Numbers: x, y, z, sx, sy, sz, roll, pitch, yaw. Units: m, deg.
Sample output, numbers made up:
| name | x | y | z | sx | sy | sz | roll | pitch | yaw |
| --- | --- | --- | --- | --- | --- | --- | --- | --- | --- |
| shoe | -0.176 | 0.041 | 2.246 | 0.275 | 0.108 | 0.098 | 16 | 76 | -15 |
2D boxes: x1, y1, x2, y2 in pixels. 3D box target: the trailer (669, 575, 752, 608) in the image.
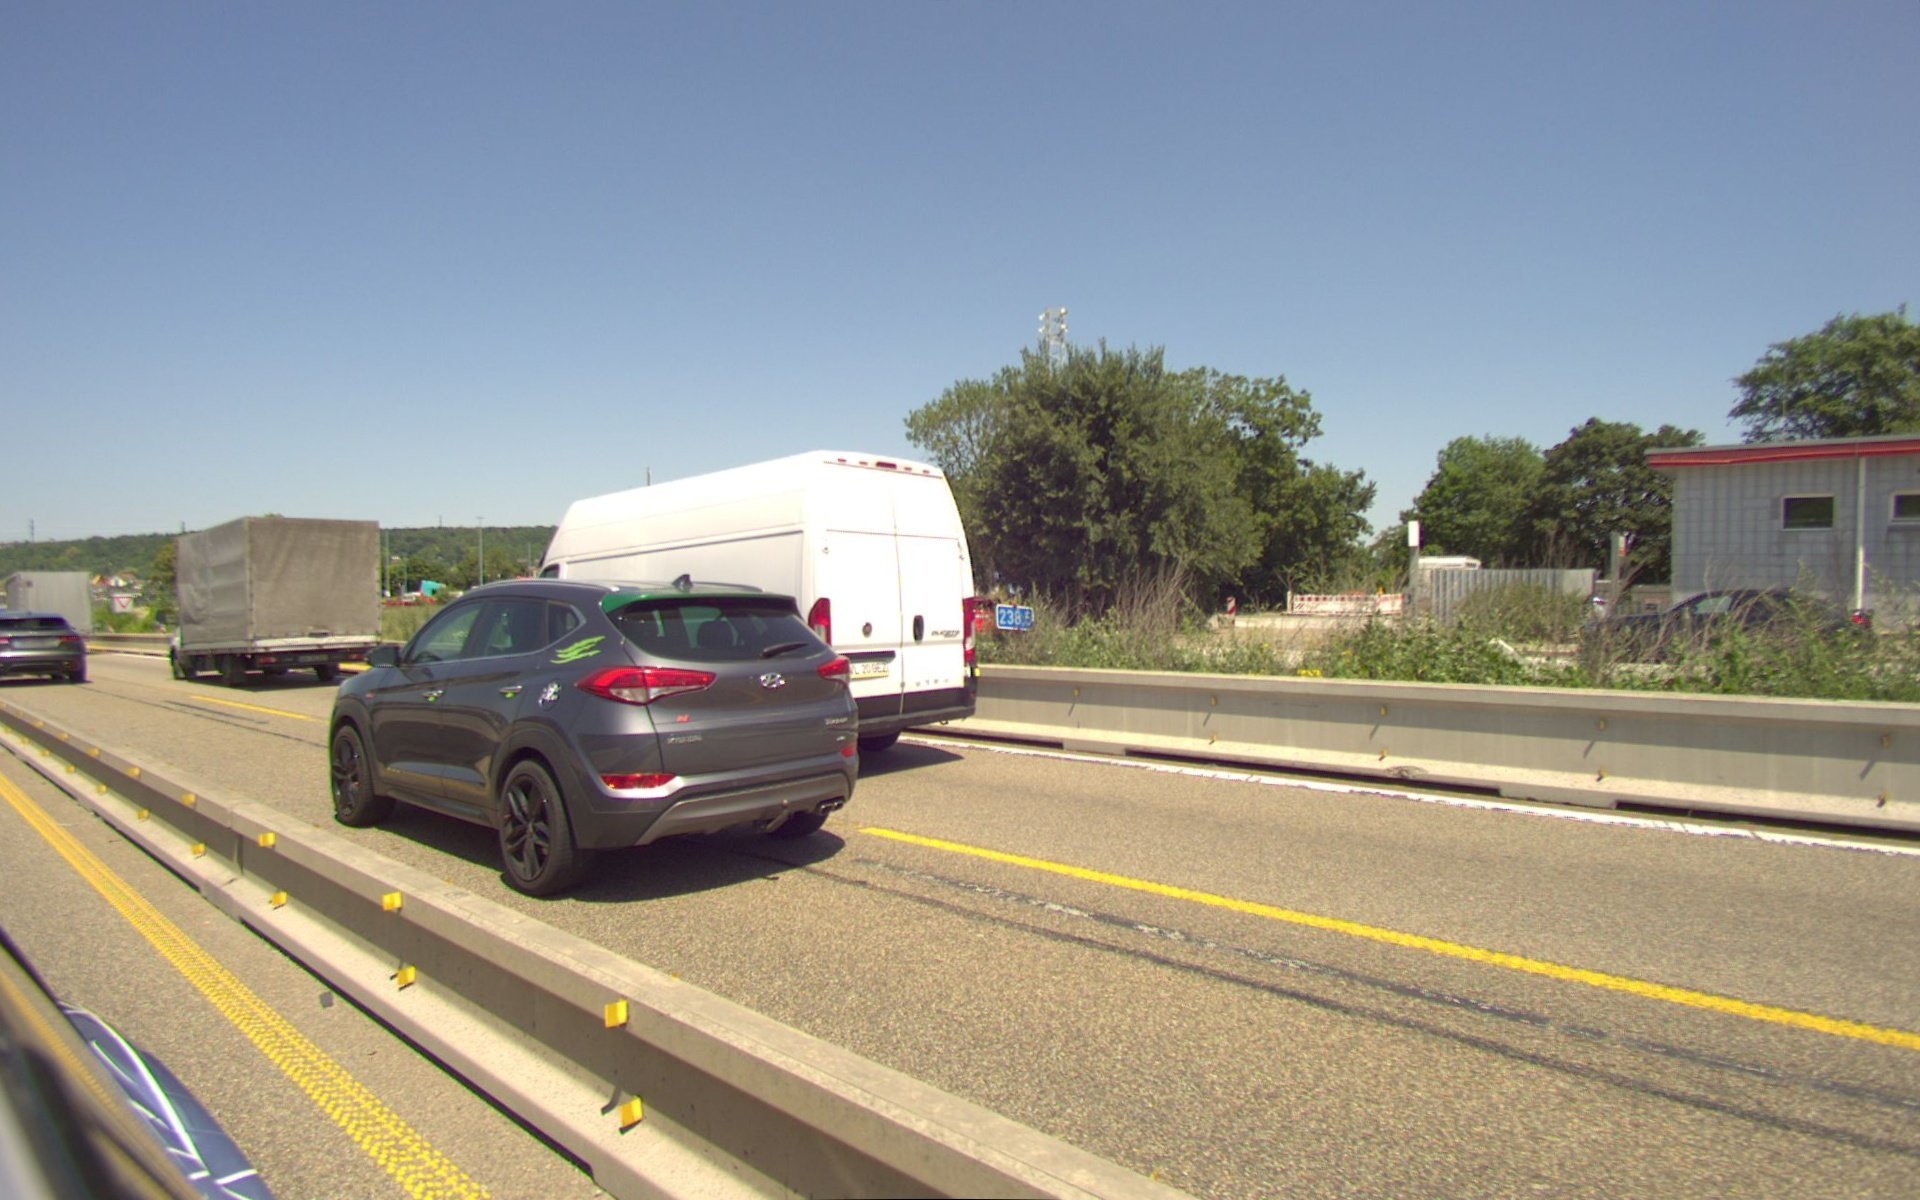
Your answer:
| name | x | y | z | sx | sy | sz | roll | pitch | yaw |
| --- | --- | --- | --- | --- | --- | --- | --- | --- | --- |
| trailer | -31.522 | -1.055 | 127.185 | 13.427 | 3.649 | 2.991 | -2 | 1 | 42 |

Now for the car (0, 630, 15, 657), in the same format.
| name | x | y | z | sx | sy | sz | roll | pitch | yaw |
| --- | --- | --- | --- | --- | --- | --- | --- | --- | --- |
| car | -53.545 | 2.427 | 55.863 | 3.783 | 1.459 | 1.606 | -2 | 0 | 40 |

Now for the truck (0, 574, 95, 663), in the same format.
| name | x | y | z | sx | sy | sz | roll | pitch | yaw |
| --- | --- | --- | --- | --- | --- | --- | --- | --- | --- |
| truck | -38.271 | 0.769 | 42.192 | 7.713 | 3.410 | 2.364 | -2 | 0 | 43 |

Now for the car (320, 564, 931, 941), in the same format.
| name | x | y | z | sx | sy | sz | roll | pitch | yaw |
| --- | --- | --- | --- | --- | --- | --- | --- | --- | --- |
| car | -2.300 | 0.680 | 6.413 | 3.998 | 1.623 | 1.918 | -1 | 0 | 41 |

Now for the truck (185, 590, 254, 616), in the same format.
| name | x | y | z | sx | sy | sz | roll | pitch | yaw |
| --- | --- | --- | --- | --- | --- | --- | --- | --- | --- |
| truck | -123.683 | 0.467 | 169.079 | 9.018 | 3.568 | 2.695 | -4 | 2 | -5 |

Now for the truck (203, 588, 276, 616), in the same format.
| name | x | y | z | sx | sy | sz | roll | pitch | yaw |
| --- | --- | --- | --- | --- | --- | --- | --- | --- | --- |
| truck | -114.761 | 0.275 | 161.306 | 9.135 | 3.701 | 2.866 | -4 | 2 | -5 |

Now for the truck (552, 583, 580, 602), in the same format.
| name | x | y | z | sx | sy | sz | roll | pitch | yaw |
| --- | --- | --- | --- | --- | --- | --- | --- | --- | --- |
| truck | -74.439 | -1.332 | 191.254 | 4.903 | 3.383 | 2.866 | -2 | 0 | 39 |

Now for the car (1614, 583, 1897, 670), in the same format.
| name | x | y | z | sx | sy | sz | roll | pitch | yaw |
| --- | --- | --- | --- | --- | --- | --- | --- | --- | --- |
| car | 14.826 | 0.522 | 19.051 | 3.998 | 1.365 | 1.629 | -3 | 3 | 41 |

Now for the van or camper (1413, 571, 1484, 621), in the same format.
| name | x | y | z | sx | sy | sz | roll | pitch | yaw |
| --- | --- | --- | --- | --- | --- | --- | --- | --- | --- |
| van or camper | 24.910 | -0.194 | 51.509 | 2.443 | 2.417 | 5.162 | -2 | -1 | 35 |

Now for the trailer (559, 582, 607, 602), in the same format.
| name | x | y | z | sx | sy | sz | roll | pitch | yaw |
| --- | --- | --- | --- | --- | --- | --- | --- | --- | --- |
| trailer | -69.885 | -1.461 | 187.481 | 11.695 | 3.405 | 2.915 | -1 | 0 | 40 |

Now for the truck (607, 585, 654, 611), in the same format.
| name | x | y | z | sx | sy | sz | roll | pitch | yaw |
| --- | --- | --- | --- | --- | --- | --- | --- | --- | --- |
| truck | -37.287 | -0.207 | 114.429 | 5.625 | 2.788 | 2.247 | -2 | 0 | 39 |

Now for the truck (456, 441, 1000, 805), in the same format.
| name | x | y | z | sx | sy | sz | roll | pitch | yaw |
| --- | --- | --- | --- | --- | --- | --- | --- | --- | --- |
| truck | -2.812 | 0.220 | 10.763 | 6.489 | 2.807 | 2.216 | -1 | 0 | 41 |

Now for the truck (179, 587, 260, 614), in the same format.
| name | x | y | z | sx | sy | sz | roll | pitch | yaw |
| --- | --- | --- | --- | --- | --- | --- | --- | --- | --- |
| truck | -126.686 | 0.036 | 173.233 | 11.344 | 3.701 | 2.534 | -4 | 2 | -5 |

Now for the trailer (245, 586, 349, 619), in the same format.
| name | x | y | z | sx | sy | sz | roll | pitch | yaw |
| --- | --- | --- | --- | --- | --- | --- | --- | --- | --- |
| trailer | -94.940 | 0.304 | 145.038 | 12.561 | 3.812 | 2.624 | -4 | 2 | -4 |

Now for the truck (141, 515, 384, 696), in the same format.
| name | x | y | z | sx | sy | sz | roll | pitch | yaw |
| --- | --- | --- | --- | --- | --- | --- | --- | --- | --- |
| truck | -15.509 | 0.154 | 22.211 | 8.113 | 3.317 | 2.469 | -1 | -1 | 41 |

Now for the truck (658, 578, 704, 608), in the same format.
| name | x | y | z | sx | sy | sz | roll | pitch | yaw |
| --- | --- | --- | --- | --- | --- | --- | --- | --- | --- |
| truck | -36.250 | -0.893 | 131.503 | 5.957 | 3.649 | 2.835 | -2 | 0 | 41 |

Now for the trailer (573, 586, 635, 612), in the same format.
| name | x | y | z | sx | sy | sz | roll | pitch | yaw |
| --- | --- | --- | --- | --- | --- | --- | --- | --- | --- |
| trailer | -41.544 | -0.082 | 117.892 | 9.386 | 2.788 | 2.232 | -2 | 0 | 39 |

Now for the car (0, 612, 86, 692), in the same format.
| name | x | y | z | sx | sy | sz | roll | pitch | yaw |
| --- | --- | --- | --- | --- | --- | --- | --- | --- | --- |
| car | -21.563 | 1.134 | 23.049 | 4.743 | 1.671 | 1.921 | -1 | -1 | 42 |

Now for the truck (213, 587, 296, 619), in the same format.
| name | x | y | z | sx | sy | sz | roll | pitch | yaw |
| --- | --- | --- | --- | --- | --- | --- | --- | --- | --- |
| truck | -109.531 | 0.420 | 157.255 | 9.742 | 4.250 | 3.590 | -4 | 2 | -5 |
